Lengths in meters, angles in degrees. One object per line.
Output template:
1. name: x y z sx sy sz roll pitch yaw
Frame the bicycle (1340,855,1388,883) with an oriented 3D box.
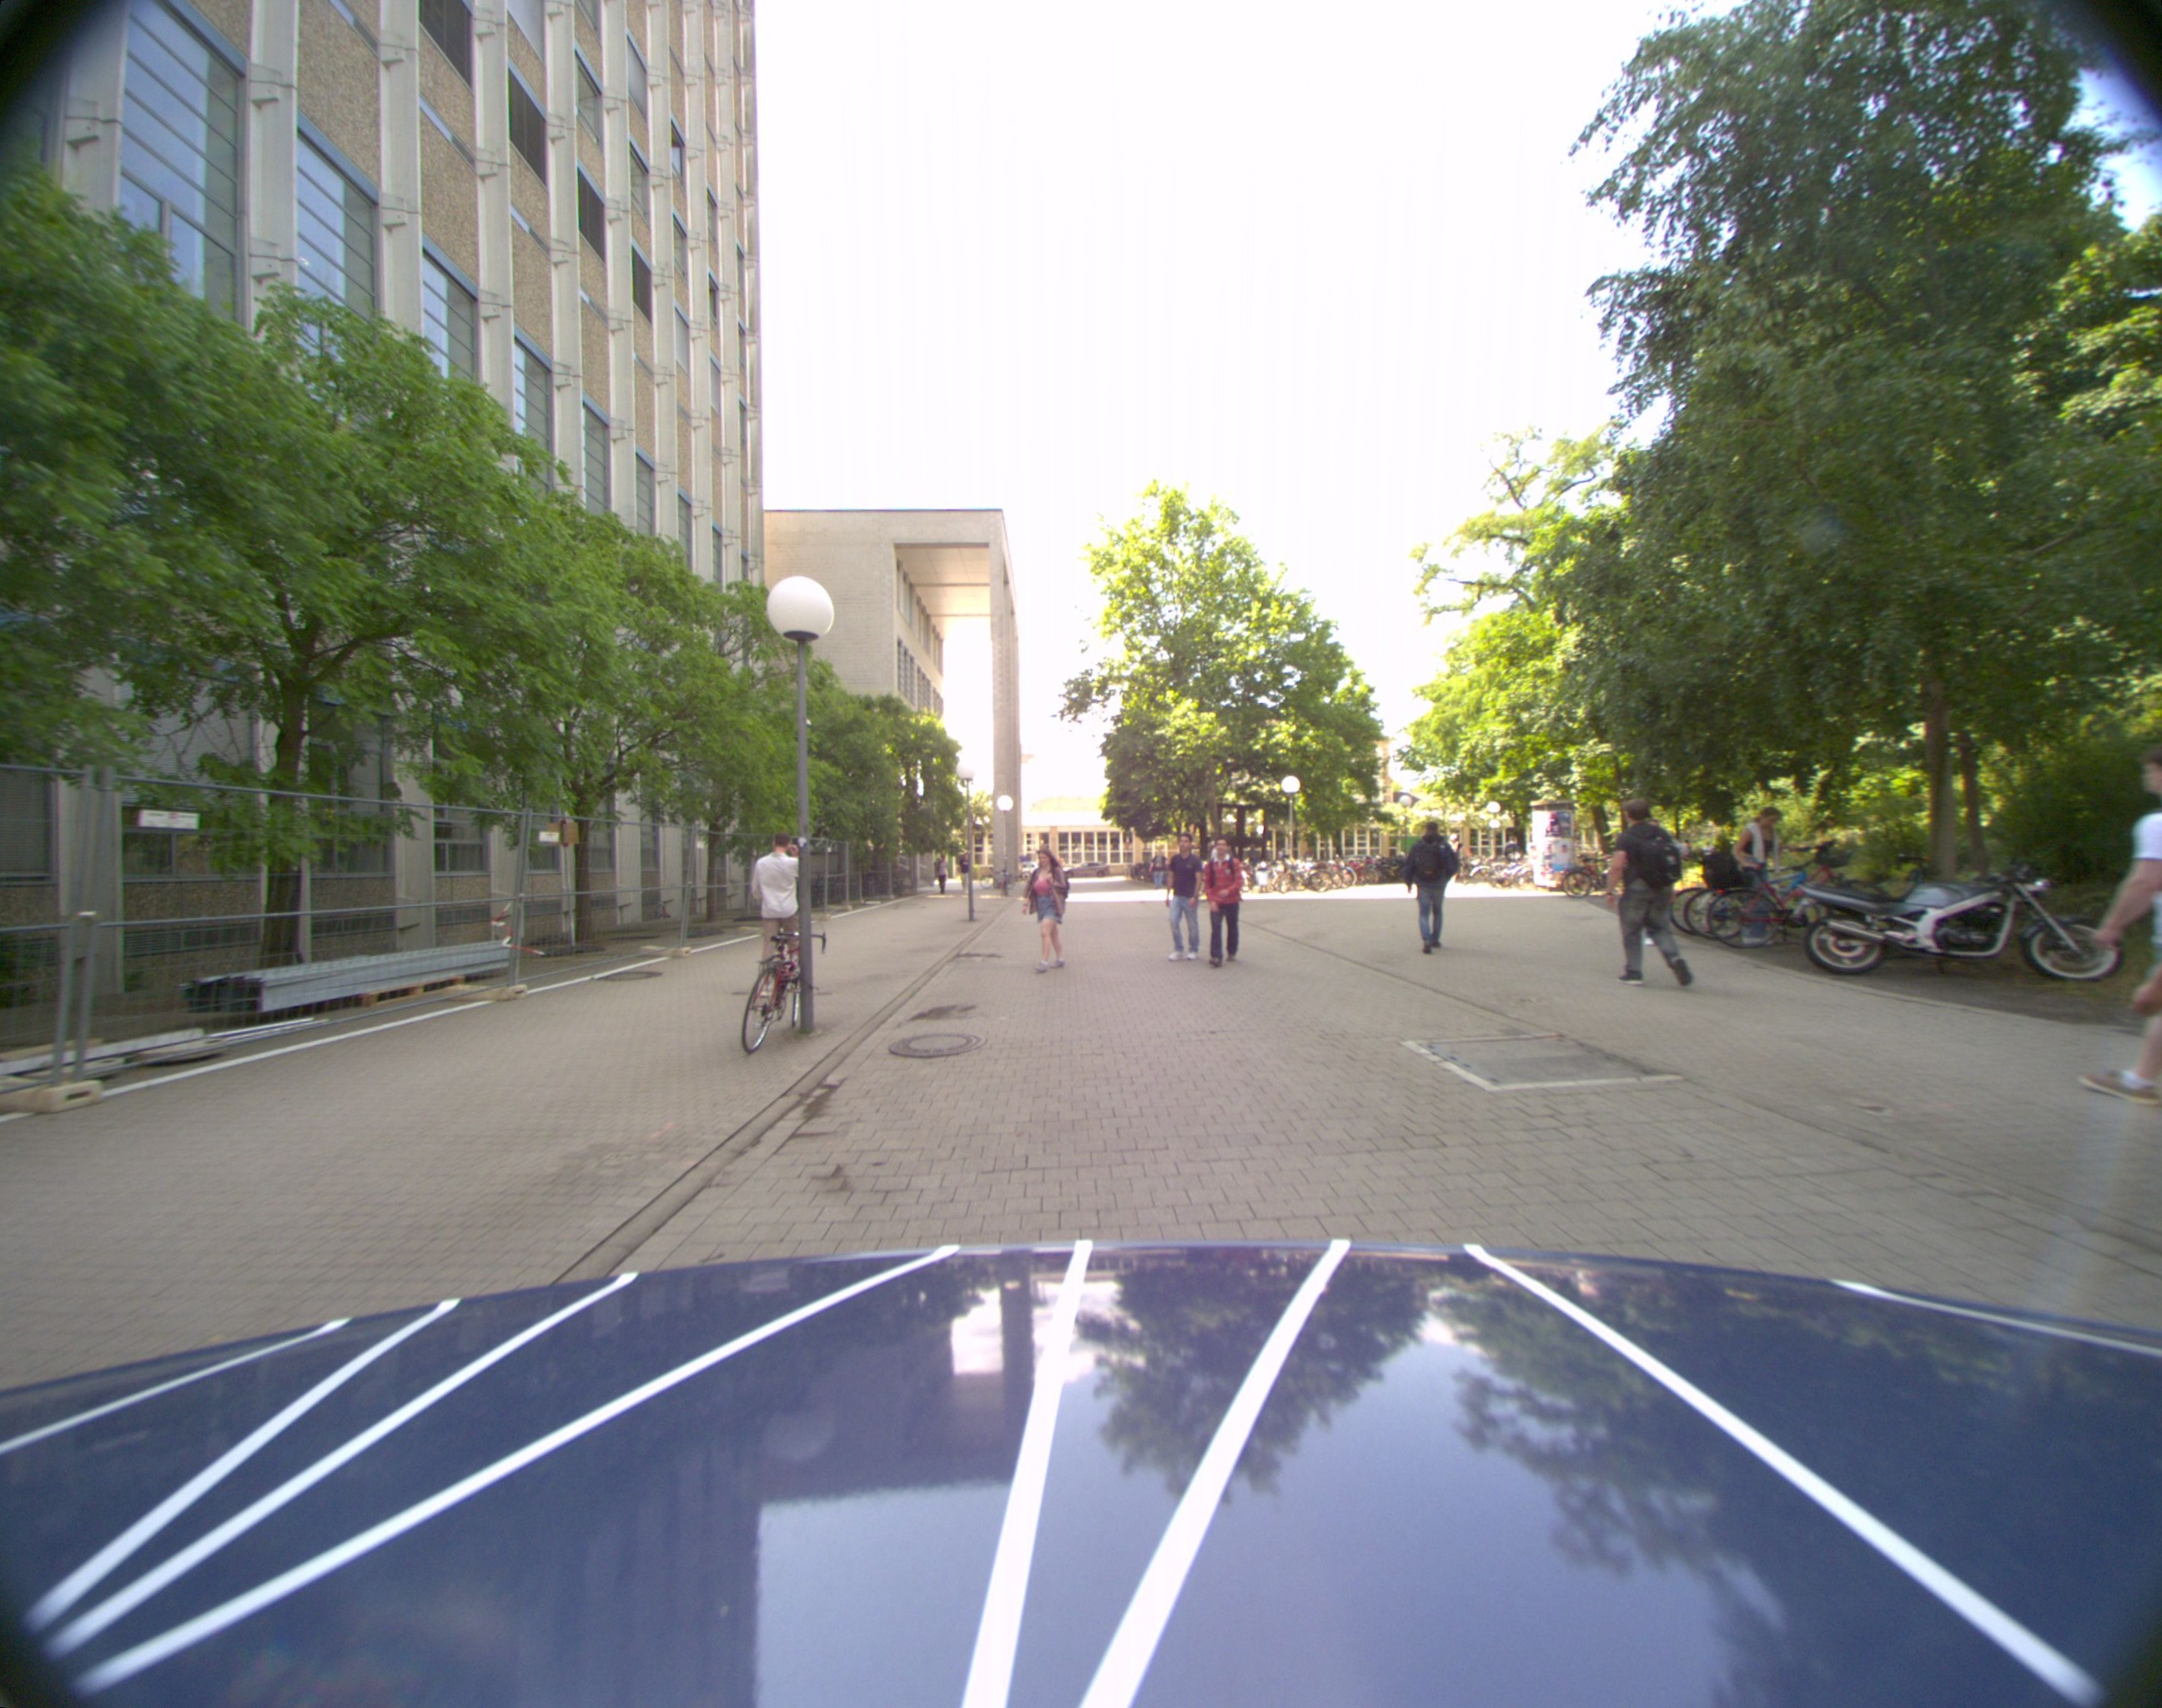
1. bicycle: 11.227 0.613 30.177 1.695 1.077 0.475 -1 1 34

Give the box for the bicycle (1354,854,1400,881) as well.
1. bicycle: 12.279 0.556 31.508 1.695 1.077 0.475 -1 1 34

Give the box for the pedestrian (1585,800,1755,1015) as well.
1. pedestrian: 5.526 0.460 7.199 0.684 1.862 1.120 -2 1 -6

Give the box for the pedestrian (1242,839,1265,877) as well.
1. pedestrian: 8.318 0.180 36.726 0.771 1.796 0.708 -2 1 -34

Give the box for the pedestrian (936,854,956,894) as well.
1. pedestrian: -5.747 0.839 32.277 0.703 1.645 0.881 0 0 -19

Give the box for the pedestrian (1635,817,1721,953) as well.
1. pedestrian: 7.867 0.394 10.017 0.687 1.714 0.729 0 0 -37

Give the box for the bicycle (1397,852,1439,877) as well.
1. bicycle: 15.472 0.480 34.933 0.475 1.077 1.695 -2 1 -40

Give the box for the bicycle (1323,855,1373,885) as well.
1. bicycle: 10.019 0.592 28.515 1.695 1.077 0.475 -1 1 37

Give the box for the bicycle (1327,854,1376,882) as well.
1. bicycle: 10.465 0.543 29.402 1.695 1.077 0.475 -1 1 34

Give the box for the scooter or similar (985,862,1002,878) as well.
1. scooter or similar: -6.326 1.150 54.738 1.157 1.144 0.444 -1 0 3

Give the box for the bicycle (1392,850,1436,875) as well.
1. bicycle: 14.848 0.403 33.921 1.695 1.077 0.475 -1 1 41

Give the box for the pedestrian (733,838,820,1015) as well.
1. pedestrian: -3.460 0.759 8.587 0.786 1.834 1.116 -2 1 -25

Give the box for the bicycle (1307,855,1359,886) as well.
1. bicycle: 9.175 0.609 27.701 1.695 1.077 0.475 -1 1 40

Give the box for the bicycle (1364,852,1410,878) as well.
1. bicycle: 12.799 0.475 31.803 1.695 1.077 0.475 -1 1 34

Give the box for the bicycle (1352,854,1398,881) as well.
1. bicycle: 12.021 0.572 31.103 1.695 1.077 0.475 -1 1 34

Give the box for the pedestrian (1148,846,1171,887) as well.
1. pedestrian: 3.275 0.523 31.657 0.768 1.670 0.908 -1 0 16

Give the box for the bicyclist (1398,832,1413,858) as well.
1. bicyclist: 23.525 -0.667 55.043 0.865 1.881 0.806 -1 2 27

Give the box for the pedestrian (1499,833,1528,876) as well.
1. pedestrian: 18.710 0.027 32.855 0.884 1.804 0.832 -2 1 -43

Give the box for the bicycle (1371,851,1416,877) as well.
1. bicycle: 13.426 0.444 32.628 1.695 1.077 0.475 -1 1 34

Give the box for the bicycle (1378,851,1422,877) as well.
1. bicycle: 13.865 0.438 33.057 1.695 1.077 0.475 -1 1 34

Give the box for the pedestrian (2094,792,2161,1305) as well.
1. pedestrian: 3.864 0.643 2.192 0.685 1.714 0.905 -2 1 12

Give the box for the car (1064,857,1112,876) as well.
1. car: 0.591 1.073 66.651 4.209 1.468 1.653 -1 2 -2

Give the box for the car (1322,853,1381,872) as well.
1. car: 23.885 0.717 67.236 4.537 1.608 1.837 -1 1 -3

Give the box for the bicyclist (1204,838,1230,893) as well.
1. bicyclist: 3.967 0.330 22.205 0.720 1.559 0.596 -1 1 9

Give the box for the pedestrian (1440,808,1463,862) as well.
1. pedestrian: 12.799 -0.646 26.240 0.612 1.825 1.052 -1 1 30

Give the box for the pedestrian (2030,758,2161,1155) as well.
1. pedestrian: 5.448 0.477 3.527 0.726 1.870 1.082 -2 1 -6

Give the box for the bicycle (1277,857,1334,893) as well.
1. bicycle: 7.206 0.672 24.469 1.697 1.104 0.474 -1 1 11

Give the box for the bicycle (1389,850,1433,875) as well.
1. bicycle: 14.519 0.390 33.499 1.695 1.077 0.475 -1 1 41

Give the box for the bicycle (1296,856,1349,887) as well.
1. bicycle: 8.507 0.616 26.770 1.695 1.077 0.475 -1 1 40

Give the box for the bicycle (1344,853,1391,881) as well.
1. bicycle: 11.525 0.529 30.585 1.695 1.077 0.475 -1 1 34

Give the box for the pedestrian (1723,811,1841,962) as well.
1. pedestrian: 8.474 0.378 9.197 0.679 1.714 0.935 0 0 -37

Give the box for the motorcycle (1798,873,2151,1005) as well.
1. motorcycle: 7.979 0.730 6.955 2.020 1.041 0.475 -3 0 41

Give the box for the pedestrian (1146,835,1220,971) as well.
1. pedestrian: 1.453 0.668 10.759 0.684 1.824 0.943 -1 0 33

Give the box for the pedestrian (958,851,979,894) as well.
1. pedestrian: -4.790 0.771 32.325 0.703 1.792 0.881 0 0 -19

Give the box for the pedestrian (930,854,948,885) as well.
1. pedestrian: -8.488 0.931 45.465 0.960 1.803 0.769 -2 1 -11

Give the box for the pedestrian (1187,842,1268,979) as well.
1. pedestrian: 1.968 0.711 10.155 0.717 1.714 1.067 -1 0 31

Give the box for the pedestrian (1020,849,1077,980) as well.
1. pedestrian: -0.446 0.802 10.434 0.686 1.714 0.731 -2 1 -3

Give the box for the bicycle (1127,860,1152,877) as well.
1. bicycle: 3.921 0.993 51.388 1.629 1.101 0.497 -1 -2 -2

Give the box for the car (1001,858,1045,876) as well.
1. car: -5.041 1.161 66.353 3.777 1.468 1.653 -1 2 -1

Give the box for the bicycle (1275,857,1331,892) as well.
1. bicycle: 7.271 0.677 24.967 1.721 1.077 0.474 -1 1 13

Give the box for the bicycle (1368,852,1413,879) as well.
1. bicycle: 13.118 0.495 32.223 1.695 1.077 0.475 -1 1 34

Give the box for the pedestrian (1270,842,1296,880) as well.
1. pedestrian: 9.061 0.323 34.101 0.904 1.693 0.771 -1 0 36

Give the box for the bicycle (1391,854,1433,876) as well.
1. bicycle: 15.069 0.487 34.643 0.453 0.956 1.735 -2 1 -40

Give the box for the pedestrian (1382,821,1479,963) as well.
1. pedestrian: 4.863 0.498 10.554 0.886 1.847 1.034 -2 1 43

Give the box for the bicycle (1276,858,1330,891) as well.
1. bicycle: 7.450 0.694 25.515 1.696 1.077 0.475 -1 1 18

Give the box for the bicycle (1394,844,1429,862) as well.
1. bicycle: 20.373 -0.063 46.834 0.503 1.101 2.025 -2 1 -34

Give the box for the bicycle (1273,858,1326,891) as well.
1. bicycle: 7.502 0.701 26.054 1.696 1.077 0.475 -1 1 18

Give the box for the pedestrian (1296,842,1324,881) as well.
1. pedestrian: 10.097 0.335 33.519 0.904 1.693 0.771 -1 1 40
